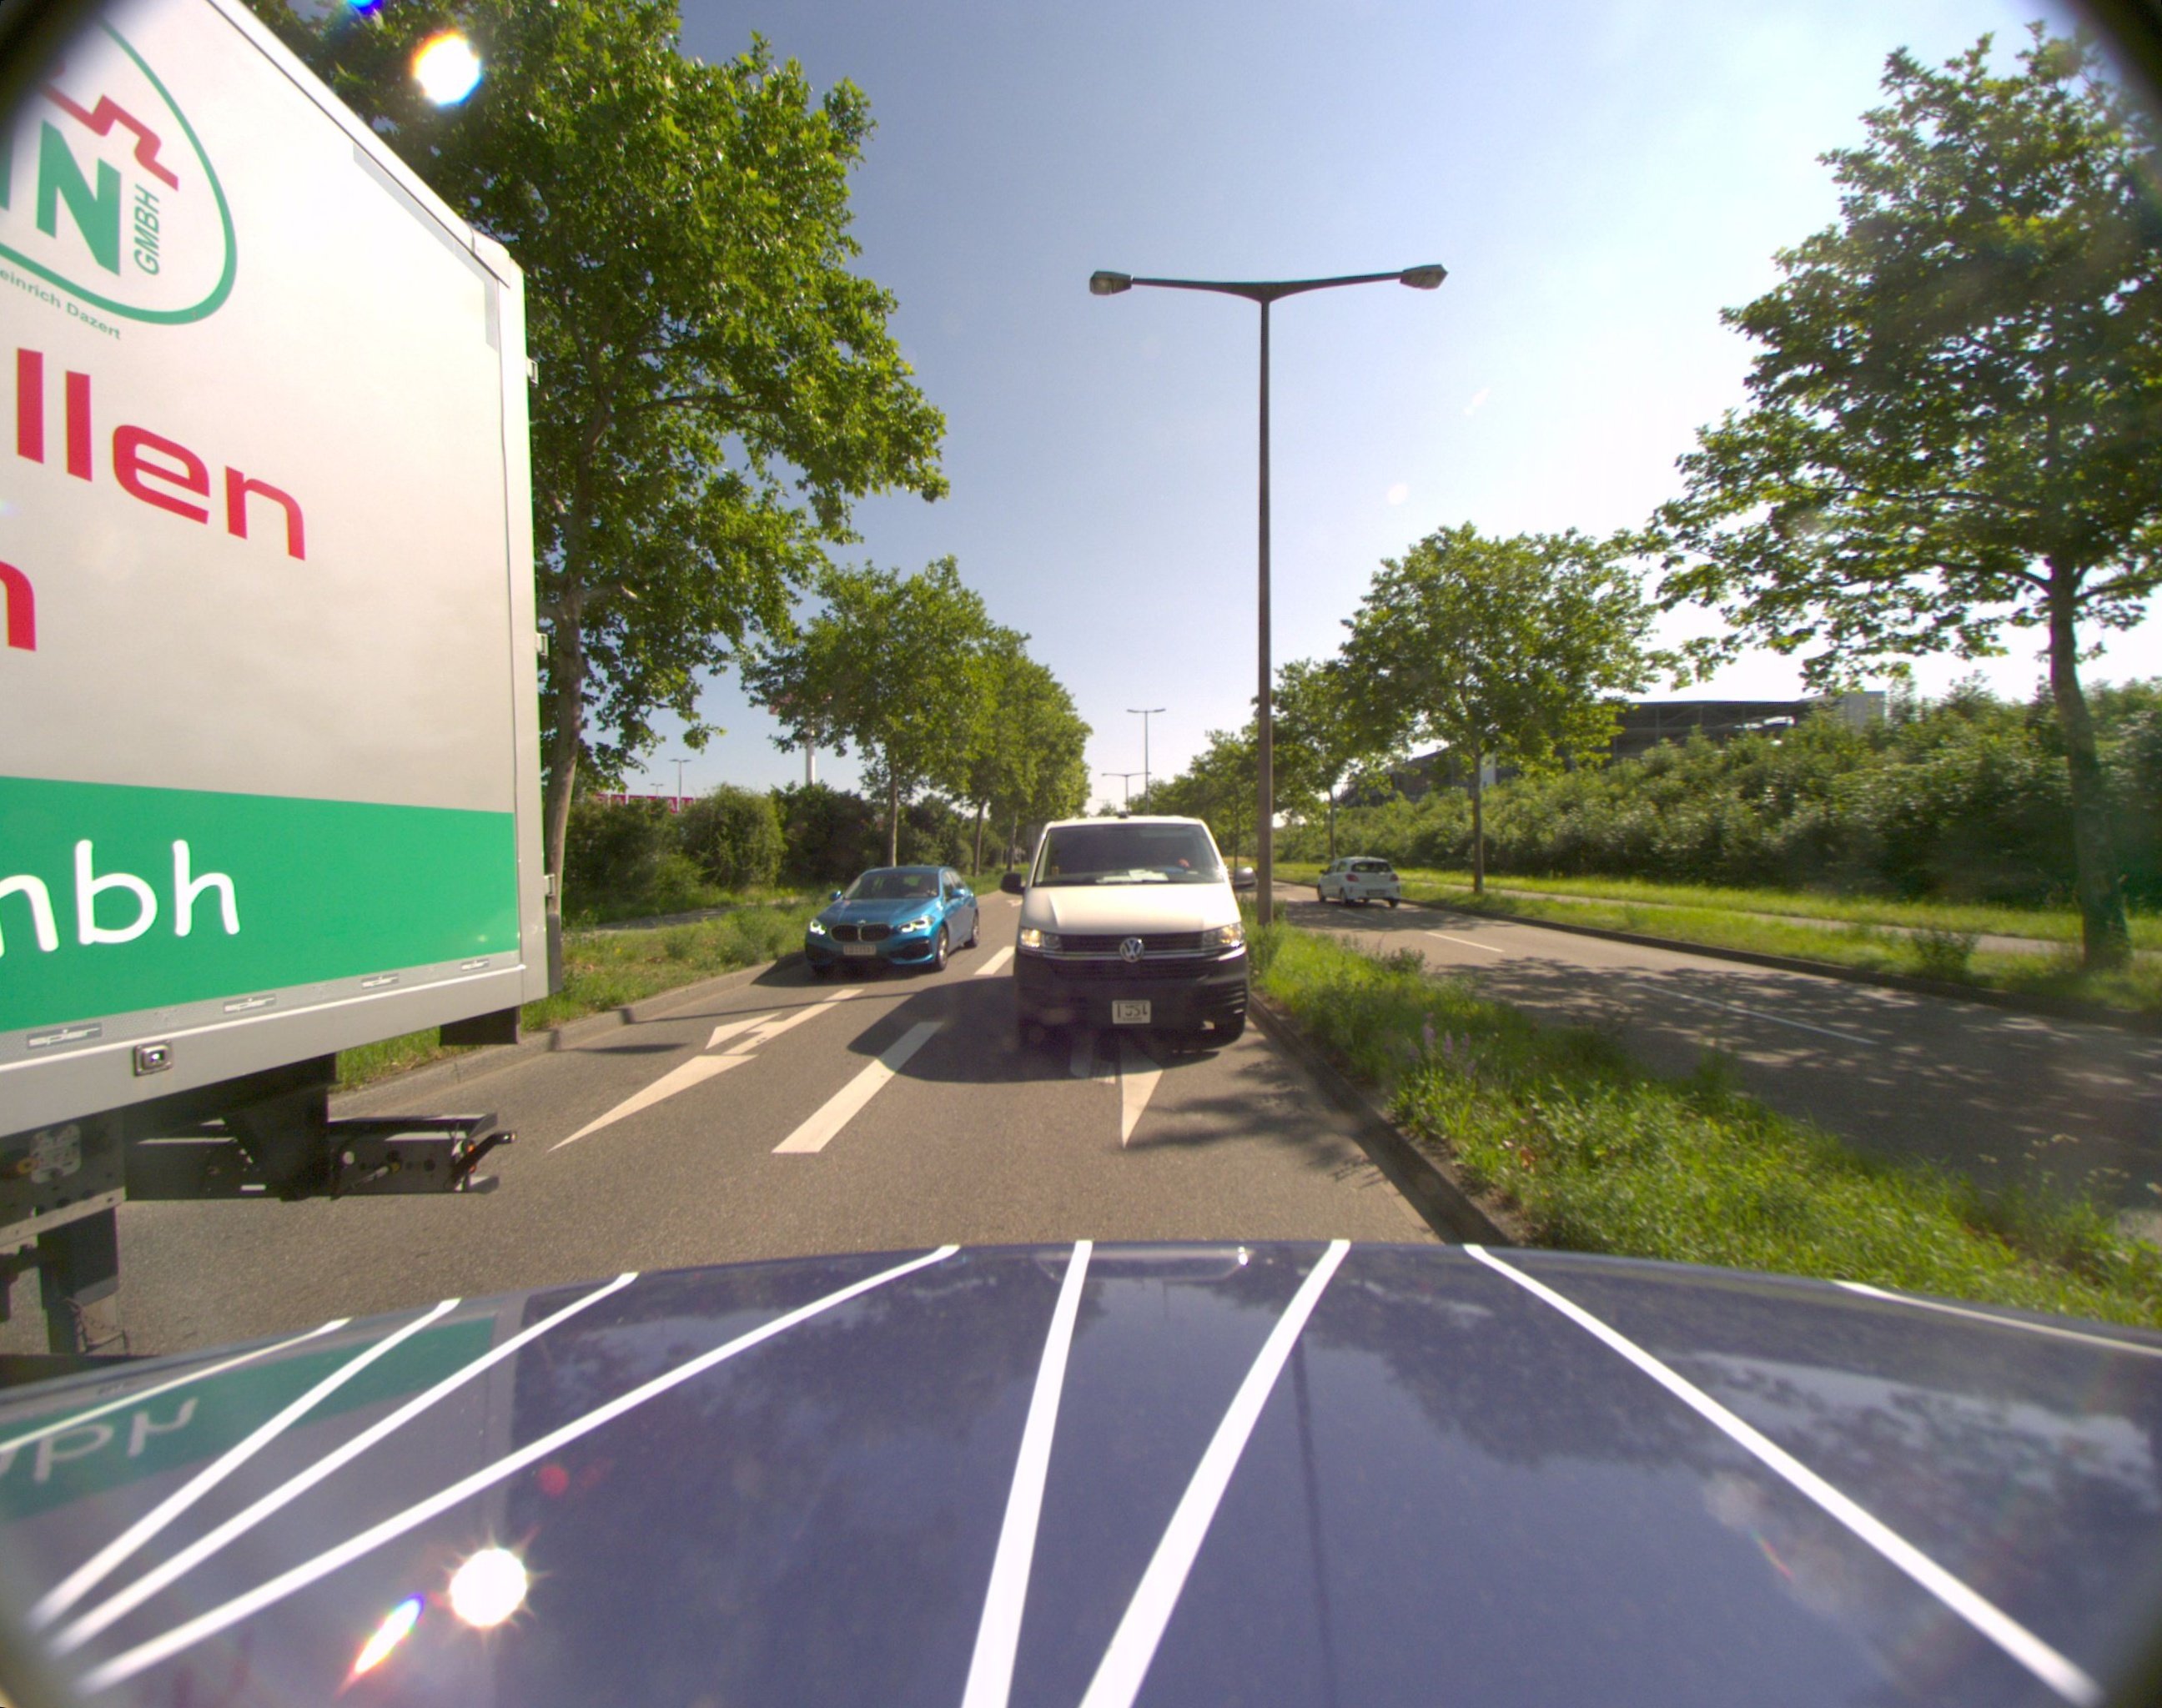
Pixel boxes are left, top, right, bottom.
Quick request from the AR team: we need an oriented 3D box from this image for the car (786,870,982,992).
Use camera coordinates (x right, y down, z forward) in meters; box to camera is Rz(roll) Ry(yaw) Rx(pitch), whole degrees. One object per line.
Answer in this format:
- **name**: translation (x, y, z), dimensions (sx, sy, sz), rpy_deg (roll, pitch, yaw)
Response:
- **car**: translation (-2.740, 1.010, 11.604), dimensions (1.872, 1.412, 4.130), rpy_deg (0, 0, 1)

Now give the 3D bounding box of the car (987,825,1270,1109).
- **car**: translation (0.349, 0.741, 7.503), dimensions (1.872, 1.889, 4.881), rpy_deg (0, 0, 1)

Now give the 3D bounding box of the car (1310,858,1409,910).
- **car**: translation (8.638, 0.863, 23.942), dimensions (1.704, 1.499, 4.000), rpy_deg (0, 0, 1)

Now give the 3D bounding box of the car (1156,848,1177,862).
- **car**: translation (11.934, 0.152, 106.306), dimensions (2.000, 1.887, 4.571), rpy_deg (1, 0, -7)

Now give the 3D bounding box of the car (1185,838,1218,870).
- **car**: translation (10.307, -0.039, 65.388), dimensions (1.998, 2.647, 5.786), rpy_deg (1, 1, 1)
